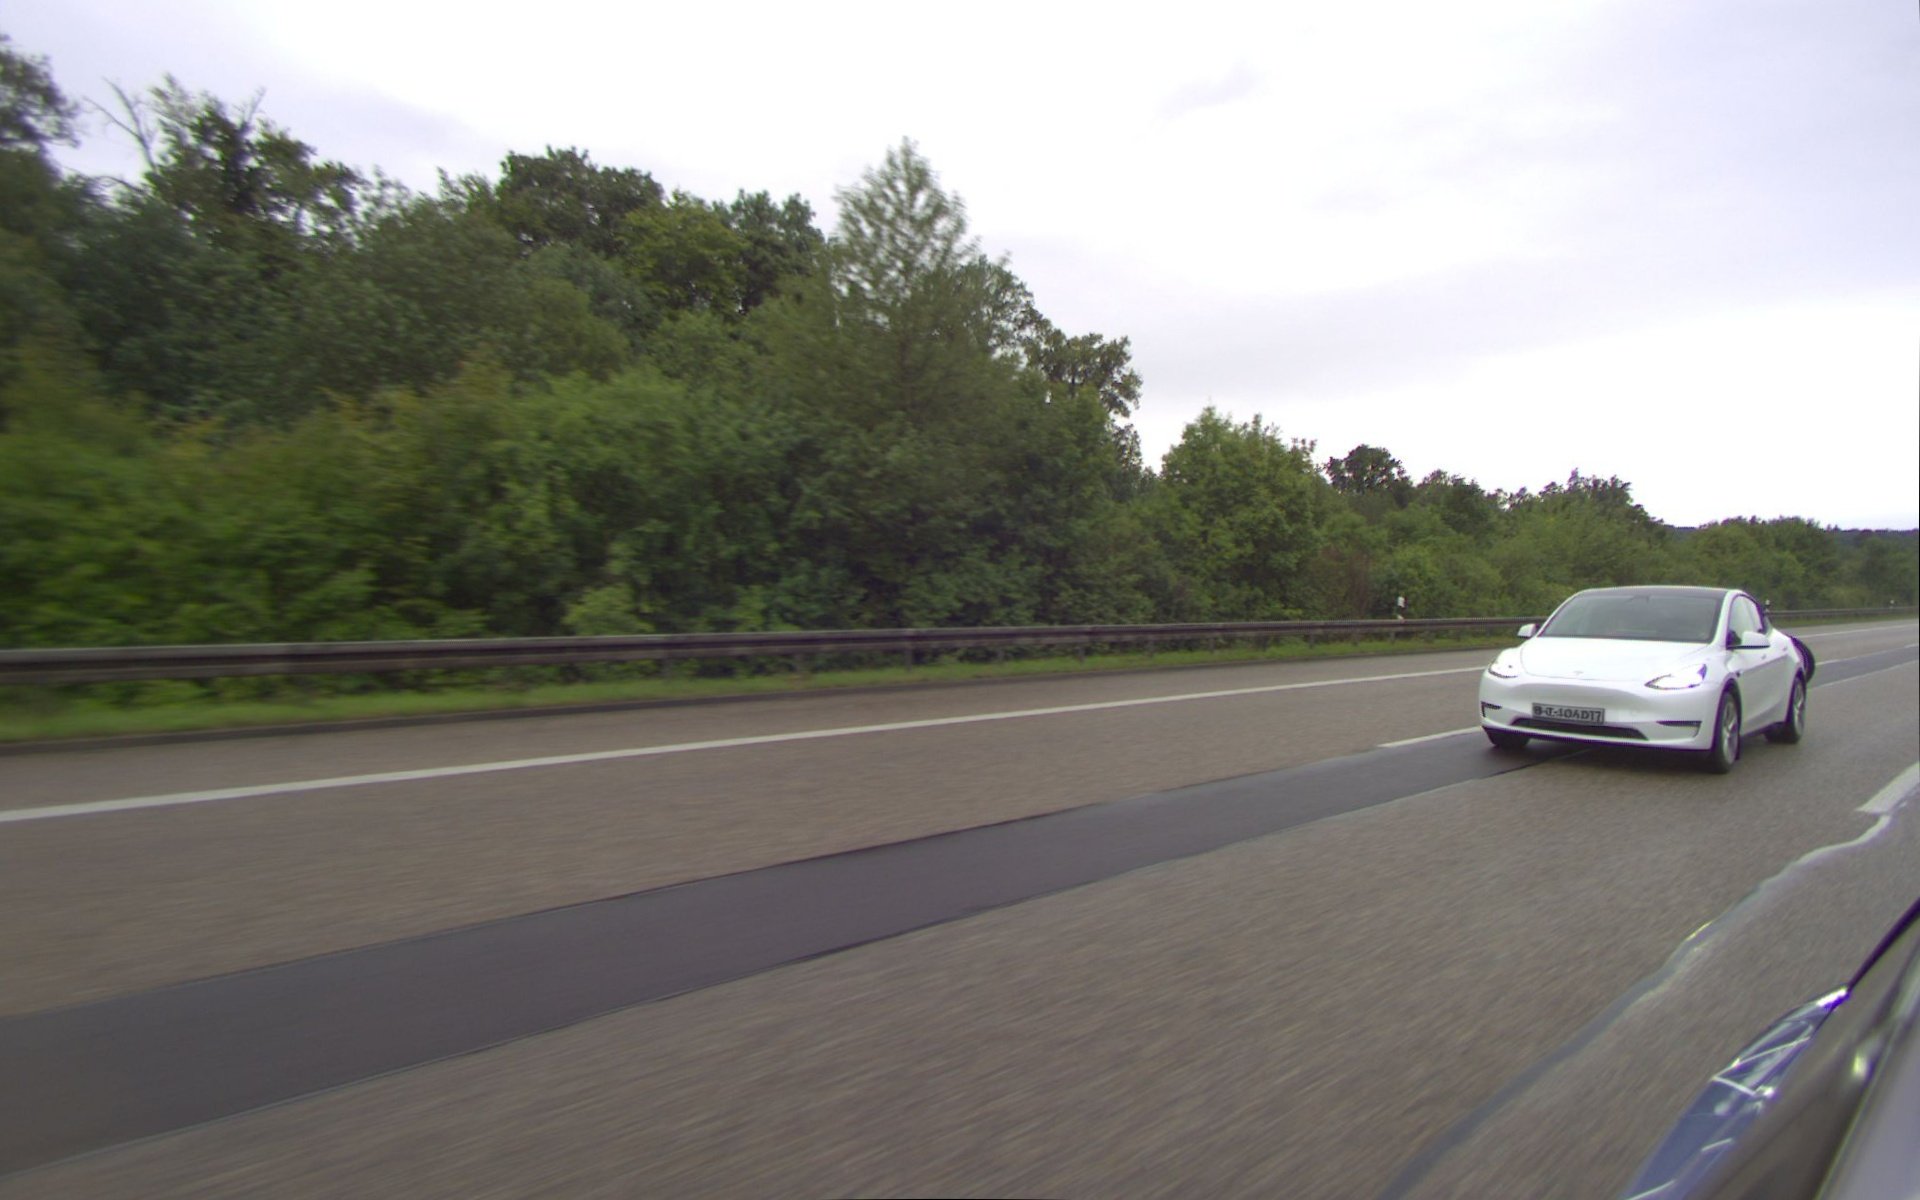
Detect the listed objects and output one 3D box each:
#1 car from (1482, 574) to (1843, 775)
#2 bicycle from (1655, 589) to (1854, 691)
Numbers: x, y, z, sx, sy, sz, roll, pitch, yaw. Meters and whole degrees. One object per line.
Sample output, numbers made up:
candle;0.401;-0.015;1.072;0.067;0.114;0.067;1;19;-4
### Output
car;7.310;0.562;10.312;4.877;1.587;1.864;-1;1;-41
bicycle;9.558;0.434;12.229;0.898;1.104;1.757;-2;2;-40
